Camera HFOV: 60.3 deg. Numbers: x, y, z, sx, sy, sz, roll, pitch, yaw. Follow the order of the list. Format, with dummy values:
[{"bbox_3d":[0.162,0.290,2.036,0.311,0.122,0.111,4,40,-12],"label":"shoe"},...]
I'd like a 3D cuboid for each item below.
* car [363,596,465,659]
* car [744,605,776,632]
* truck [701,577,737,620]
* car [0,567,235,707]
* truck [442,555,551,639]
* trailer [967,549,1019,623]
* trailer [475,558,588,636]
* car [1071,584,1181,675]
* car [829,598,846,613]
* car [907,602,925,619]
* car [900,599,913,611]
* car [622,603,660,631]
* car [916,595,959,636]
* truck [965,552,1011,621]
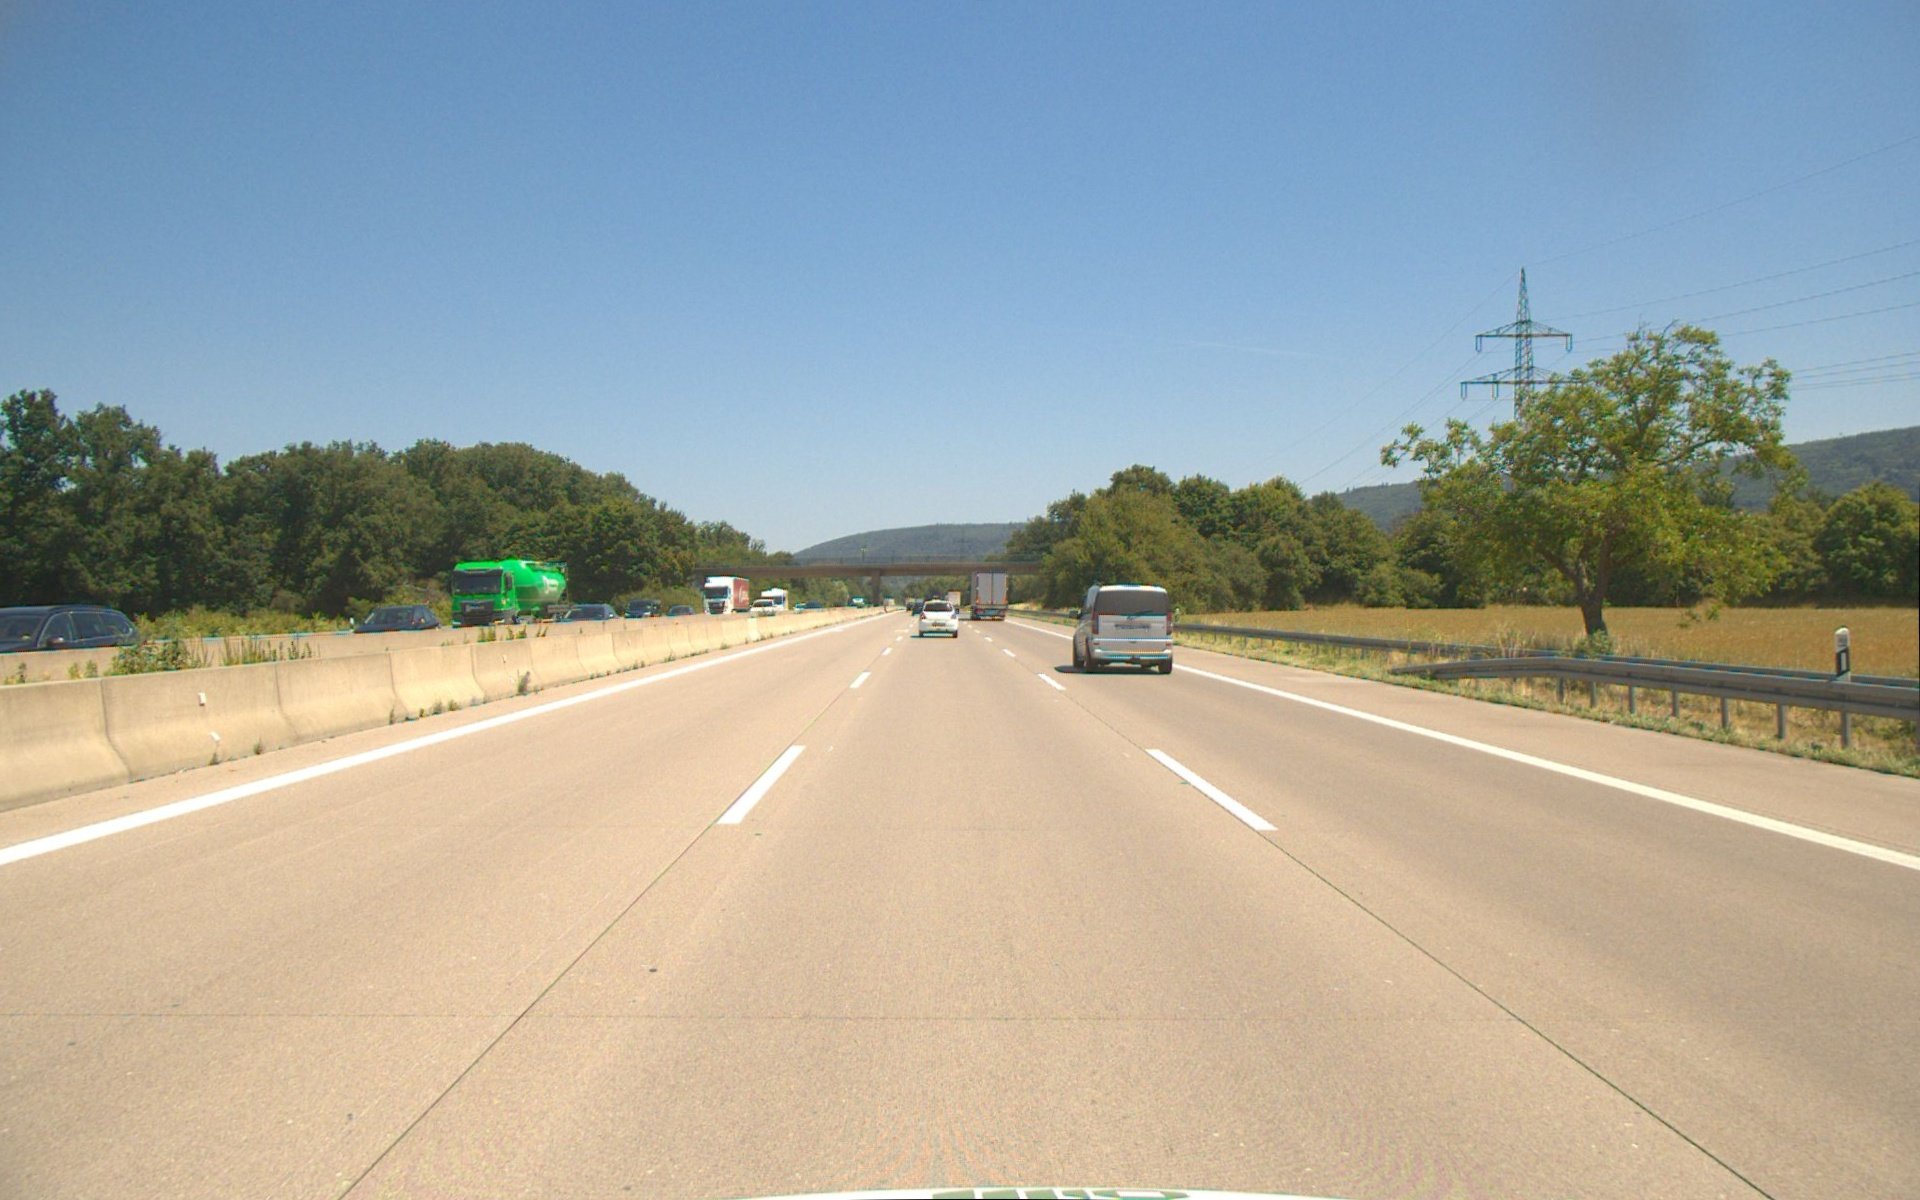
[{"bbox_3d":[-17.023,0.823,51.756,1.890,1.825,3.999,1,0,-1],"label":"car"},{"bbox_3d":[-14.325,1.294,118.454,1.890,1.825,3.999,1,0,-1],"label":"car"},{"bbox_3d":[-22.592,-0.194,155.490,2.505,3.916,6.789,1,0,-1],"label":"truck"},{"bbox_3d":[-12.528,0.472,24.105,1.953,1.826,4.466,1,0,0],"label":"car"},{"bbox_3d":[-21.617,-0.143,77.598,2.988,3.698,7.976,1,0,-1],"label":"truck"},{"bbox_3d":[2.715,-1.177,140.069,3.646,5.913,12.156,1,0,-2],"label":"trailer"},{"bbox_3d":[-21.786,-0.185,84.895,2.988,3.698,11.665,1,0,-1],"label":"trailer"},{"bbox_3d":[3.655,0.615,37.101,1.953,1.881,3.999,1,0,-1],"label":"car"},{"bbox_3d":[-16.066,0.722,217.721,1.889,1.825,4.000,1,0,0],"label":"car"},{"bbox_3d":[-4.765,1.145,179.318,1.890,1.825,3.998,1,0,-2],"label":"car"},{"bbox_3d":[-8.036,0.715,247.536,1.890,1.825,3.999,1,0,-2],"label":"car"},{"bbox_3d":[-21.854,1.180,113.504,1.890,1.825,3.999,1,0,-1],"label":"car"},{"bbox_3d":[-0.972,0.630,70.649,1.782,1.691,3.999,0,0,-1],"label":"car"},{"bbox_3d":[2.415,-1.220,146.858,3.646,5.913,7.050,1,0,-2],"label":"truck"}]
